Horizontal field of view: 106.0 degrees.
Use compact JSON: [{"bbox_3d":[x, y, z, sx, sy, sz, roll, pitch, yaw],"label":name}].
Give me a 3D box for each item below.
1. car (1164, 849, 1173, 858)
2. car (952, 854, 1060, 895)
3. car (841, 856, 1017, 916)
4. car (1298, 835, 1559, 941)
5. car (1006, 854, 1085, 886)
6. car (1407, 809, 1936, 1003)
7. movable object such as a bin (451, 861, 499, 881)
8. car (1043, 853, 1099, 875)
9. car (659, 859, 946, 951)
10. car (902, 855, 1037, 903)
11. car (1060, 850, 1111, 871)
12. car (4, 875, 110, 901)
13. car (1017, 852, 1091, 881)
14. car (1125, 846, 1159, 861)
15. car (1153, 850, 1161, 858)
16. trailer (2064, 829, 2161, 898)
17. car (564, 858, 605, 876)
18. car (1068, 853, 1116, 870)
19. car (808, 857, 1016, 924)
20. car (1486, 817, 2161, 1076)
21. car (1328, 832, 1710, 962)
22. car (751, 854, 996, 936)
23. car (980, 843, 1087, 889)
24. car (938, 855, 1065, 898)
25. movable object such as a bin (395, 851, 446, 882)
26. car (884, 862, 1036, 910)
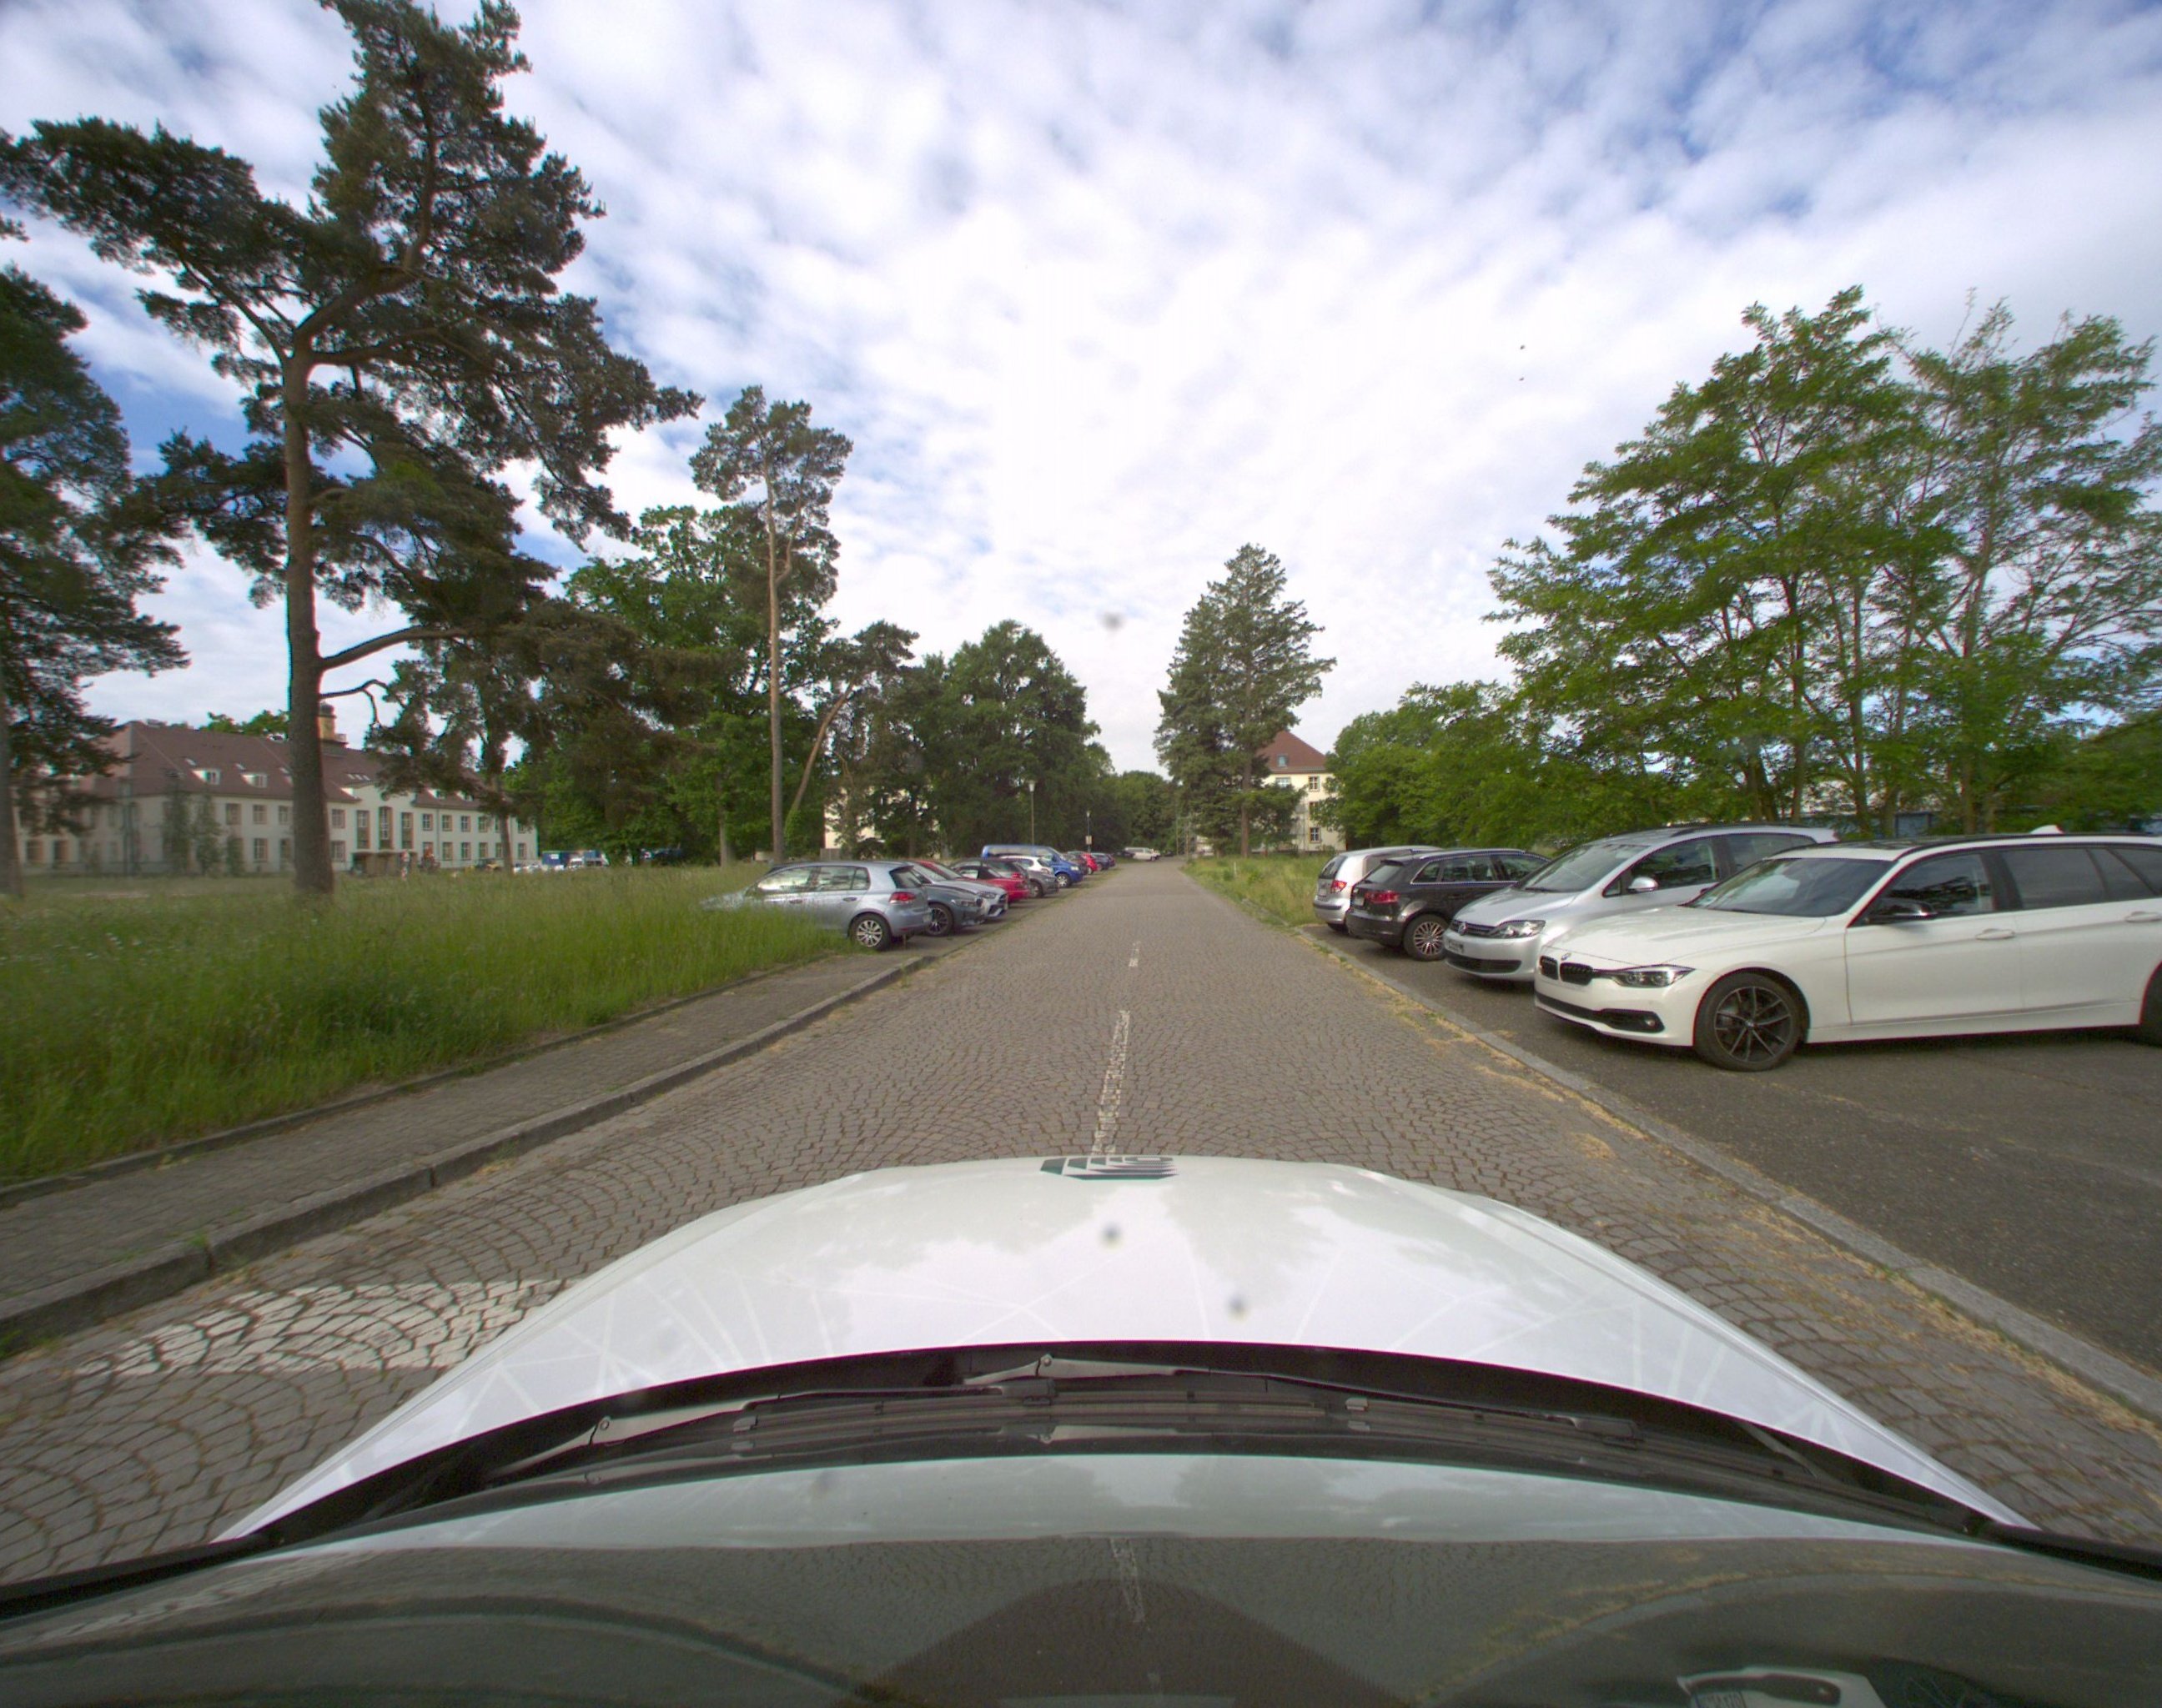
[{"bbox_3d":[20.010,-0.118,186.185,1.782,1.720,4.064,-1,-1,3],"label":"car"},{"bbox_3d":[-2.943,0.801,32.507,3.985,1.501,1.846,-1,0,6],"label":"car"},{"bbox_3d":[-3.963,0.822,21.726,4.234,1.455,1.858,-1,0,5],"label":"car"},{"bbox_3d":[5.909,0.536,14.192,3.757,1.479,1.744,-4,1,2],"label":"car"},{"bbox_3d":[-1.716,0.775,40.339,3.778,1.493,1.727,-1,0,2],"label":"car"},{"bbox_3d":[6.069,0.500,8.769,4.316,1.574,1.826,-4,-1,-1],"label":"car"},{"bbox_3d":[-75.417,2.121,101.404,4.480,2.254,2.386,-2,-2,9],"label":"movable object such as a bin"},{"bbox_3d":[-0.672,0.673,56.924,3.799,1.489,1.789,-1,0,4],"label":"car"},{"bbox_3d":[-4.704,0.843,14.128,4.307,1.470,1.830,-1,-1,6],"label":"car"},{"bbox_3d":[-3.612,0.807,26.785,4.067,1.480,1.758,-1,0,6],"label":"car"},{"bbox_3d":[0.388,0.518,67.137,4.054,1.604,1.789,-1,0,3],"label":"car"},{"bbox_3d":[-89.511,2.940,71.267,5.795,2.115,2.367,-1,-2,-4],"label":"car"},{"bbox_3d":[-1.498,0.687,46.628,4.050,1.575,1.956,-1,0,3],"label":"car"},{"bbox_3d":[8.954,-0.036,120.383,4.956,2.073,2.054,0,-1,3],"label":"car"},{"bbox_3d":[17.378,-0.016,186.063,1.782,1.636,4.064,-1,-1,3],"label":"car"},{"bbox_3d":[19.249,0.157,14.381,2.303,1.170,1.145,0,-1,3],"label":"trailer"},{"bbox_3d":[-60.195,1.583,98.869,2.052,2.095,4.350,-2,-2,5],"label":"car"},{"bbox_3d":[1.002,0.644,71.807,4.048,1.467,1.629,-1,0,8],"label":"car"},{"bbox_3d":[-3.930,0.838,19.404,4.415,1.455,1.952,-1,-1,5],"label":"car"},{"bbox_3d":[5.835,0.589,6.199,4.533,1.425,1.828,-4,-1,1],"label":"car"},{"bbox_3d":[5.940,0.552,11.477,4.348,1.406,1.798,-4,1,3],"label":"car"},{"bbox_3d":[-4.130,0.798,16.723,4.484,1.537,1.871,-1,-1,1],"label":"car"},{"bbox_3d":[-2.153,0.532,37.769,4.688,1.980,2.040,-1,0,4],"label":"car"},{"bbox_3d":[-2.853,0.799,29.622,4.282,1.480,1.734,-1,0,6],"label":"car"},{"bbox_3d":[-81.373,1.544,100.376,6.062,3.642,2.153,-2,-2,22],"label":"movable object such as a bin"},{"bbox_3d":[-3.499,0.920,24.083,4.112,1.283,1.766,-1,0,5],"label":"car"}]
